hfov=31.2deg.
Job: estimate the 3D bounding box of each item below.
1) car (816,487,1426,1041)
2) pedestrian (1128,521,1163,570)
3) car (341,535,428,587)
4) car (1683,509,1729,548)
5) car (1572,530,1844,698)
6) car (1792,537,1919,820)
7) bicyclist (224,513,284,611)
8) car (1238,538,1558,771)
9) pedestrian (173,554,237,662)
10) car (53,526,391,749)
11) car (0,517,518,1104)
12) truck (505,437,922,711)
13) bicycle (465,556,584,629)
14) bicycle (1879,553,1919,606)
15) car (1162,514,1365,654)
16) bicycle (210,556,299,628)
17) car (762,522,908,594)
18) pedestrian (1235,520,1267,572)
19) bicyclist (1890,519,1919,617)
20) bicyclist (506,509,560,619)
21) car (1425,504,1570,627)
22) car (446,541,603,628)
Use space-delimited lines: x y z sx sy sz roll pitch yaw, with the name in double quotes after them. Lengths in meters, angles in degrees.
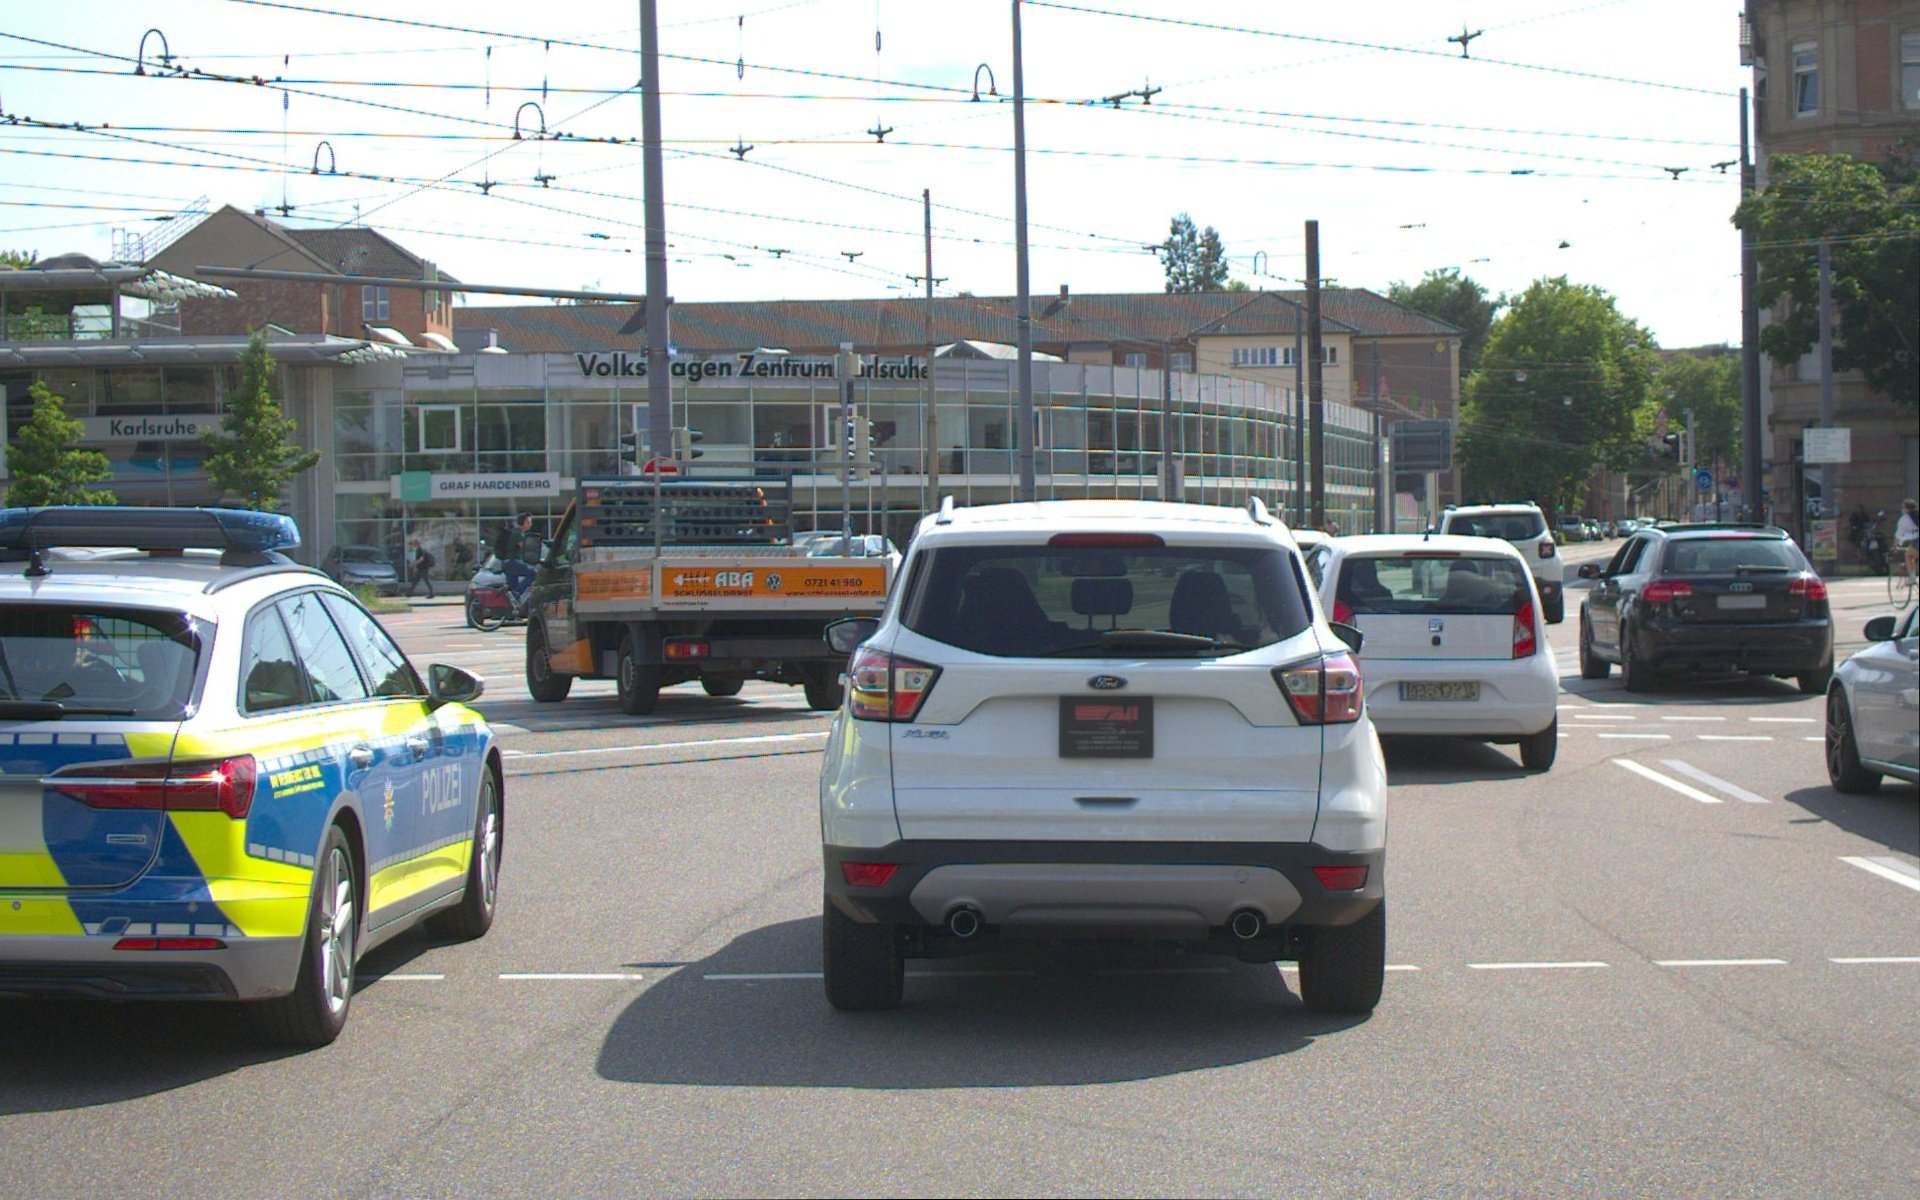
0.431 0.479 12.325 1.827 1.658 3.956 0 0 -2 "car"
6.539 -1.915 121.135 0.876 1.731 0.875 1 0 30 "pedestrian"
-17.856 -1.201 106.806 1.818 1.528 3.917 -2 0 2 "car"
33.073 -3.152 152.448 1.838 1.646 3.997 0 0 15 "car"
6.552 0.073 30.496 1.699 1.367 4.132 -1 1 3 "car"
6.078 0.439 18.718 1.930 1.450 4.760 1 2 0 "car"
-12.320 -0.670 60.028 0.759 1.677 0.760 -2 1 9 "bicyclist"
2.871 0.300 23.274 1.649 1.417 4.000 0 1 0 "car"
-12.279 0.133 55.905 0.923 1.738 0.589 1 0 -21 "pedestrian"
-5.502 0.218 25.287 1.847 1.469 4.001 -1 1 -20 "car"
-2.750 0.520 11.491 1.880 1.563 4.615 0 1 1 "car"
-2.299 -0.233 30.000 2.338 2.148 5.853 0 1 -18 "truck"
-6.959 -0.126 54.926 1.778 1.121 0.640 -1 2 -23 "bicycle"
14.291 -0.312 51.368 0.584 0.773 1.621 -1 1 -4 "bicycle"
3.177 -0.184 36.629 1.850 1.414 3.679 0 1 0 "car"
-12.313 -0.155 60.071 0.759 1.188 2.150 -2 1 9 "bicycle"
-2.663 -0.922 74.039 1.901 1.456 3.965 -2 1 17 "car"
10.790 -1.990 127.330 0.876 1.915 0.875 1 0 28 "pedestrian"
14.315 -0.486 51.289 0.608 1.446 0.774 -1 1 -4 "bicyclist"
-6.829 -0.583 55.001 0.660 1.732 0.640 -1 2 -28 "bicyclist"
7.501 -0.473 48.212 1.837 1.646 3.999 0 0 6 "car"
-7.527 -0.290 59.681 1.738 1.368 3.640 -2 1 8 "car"
